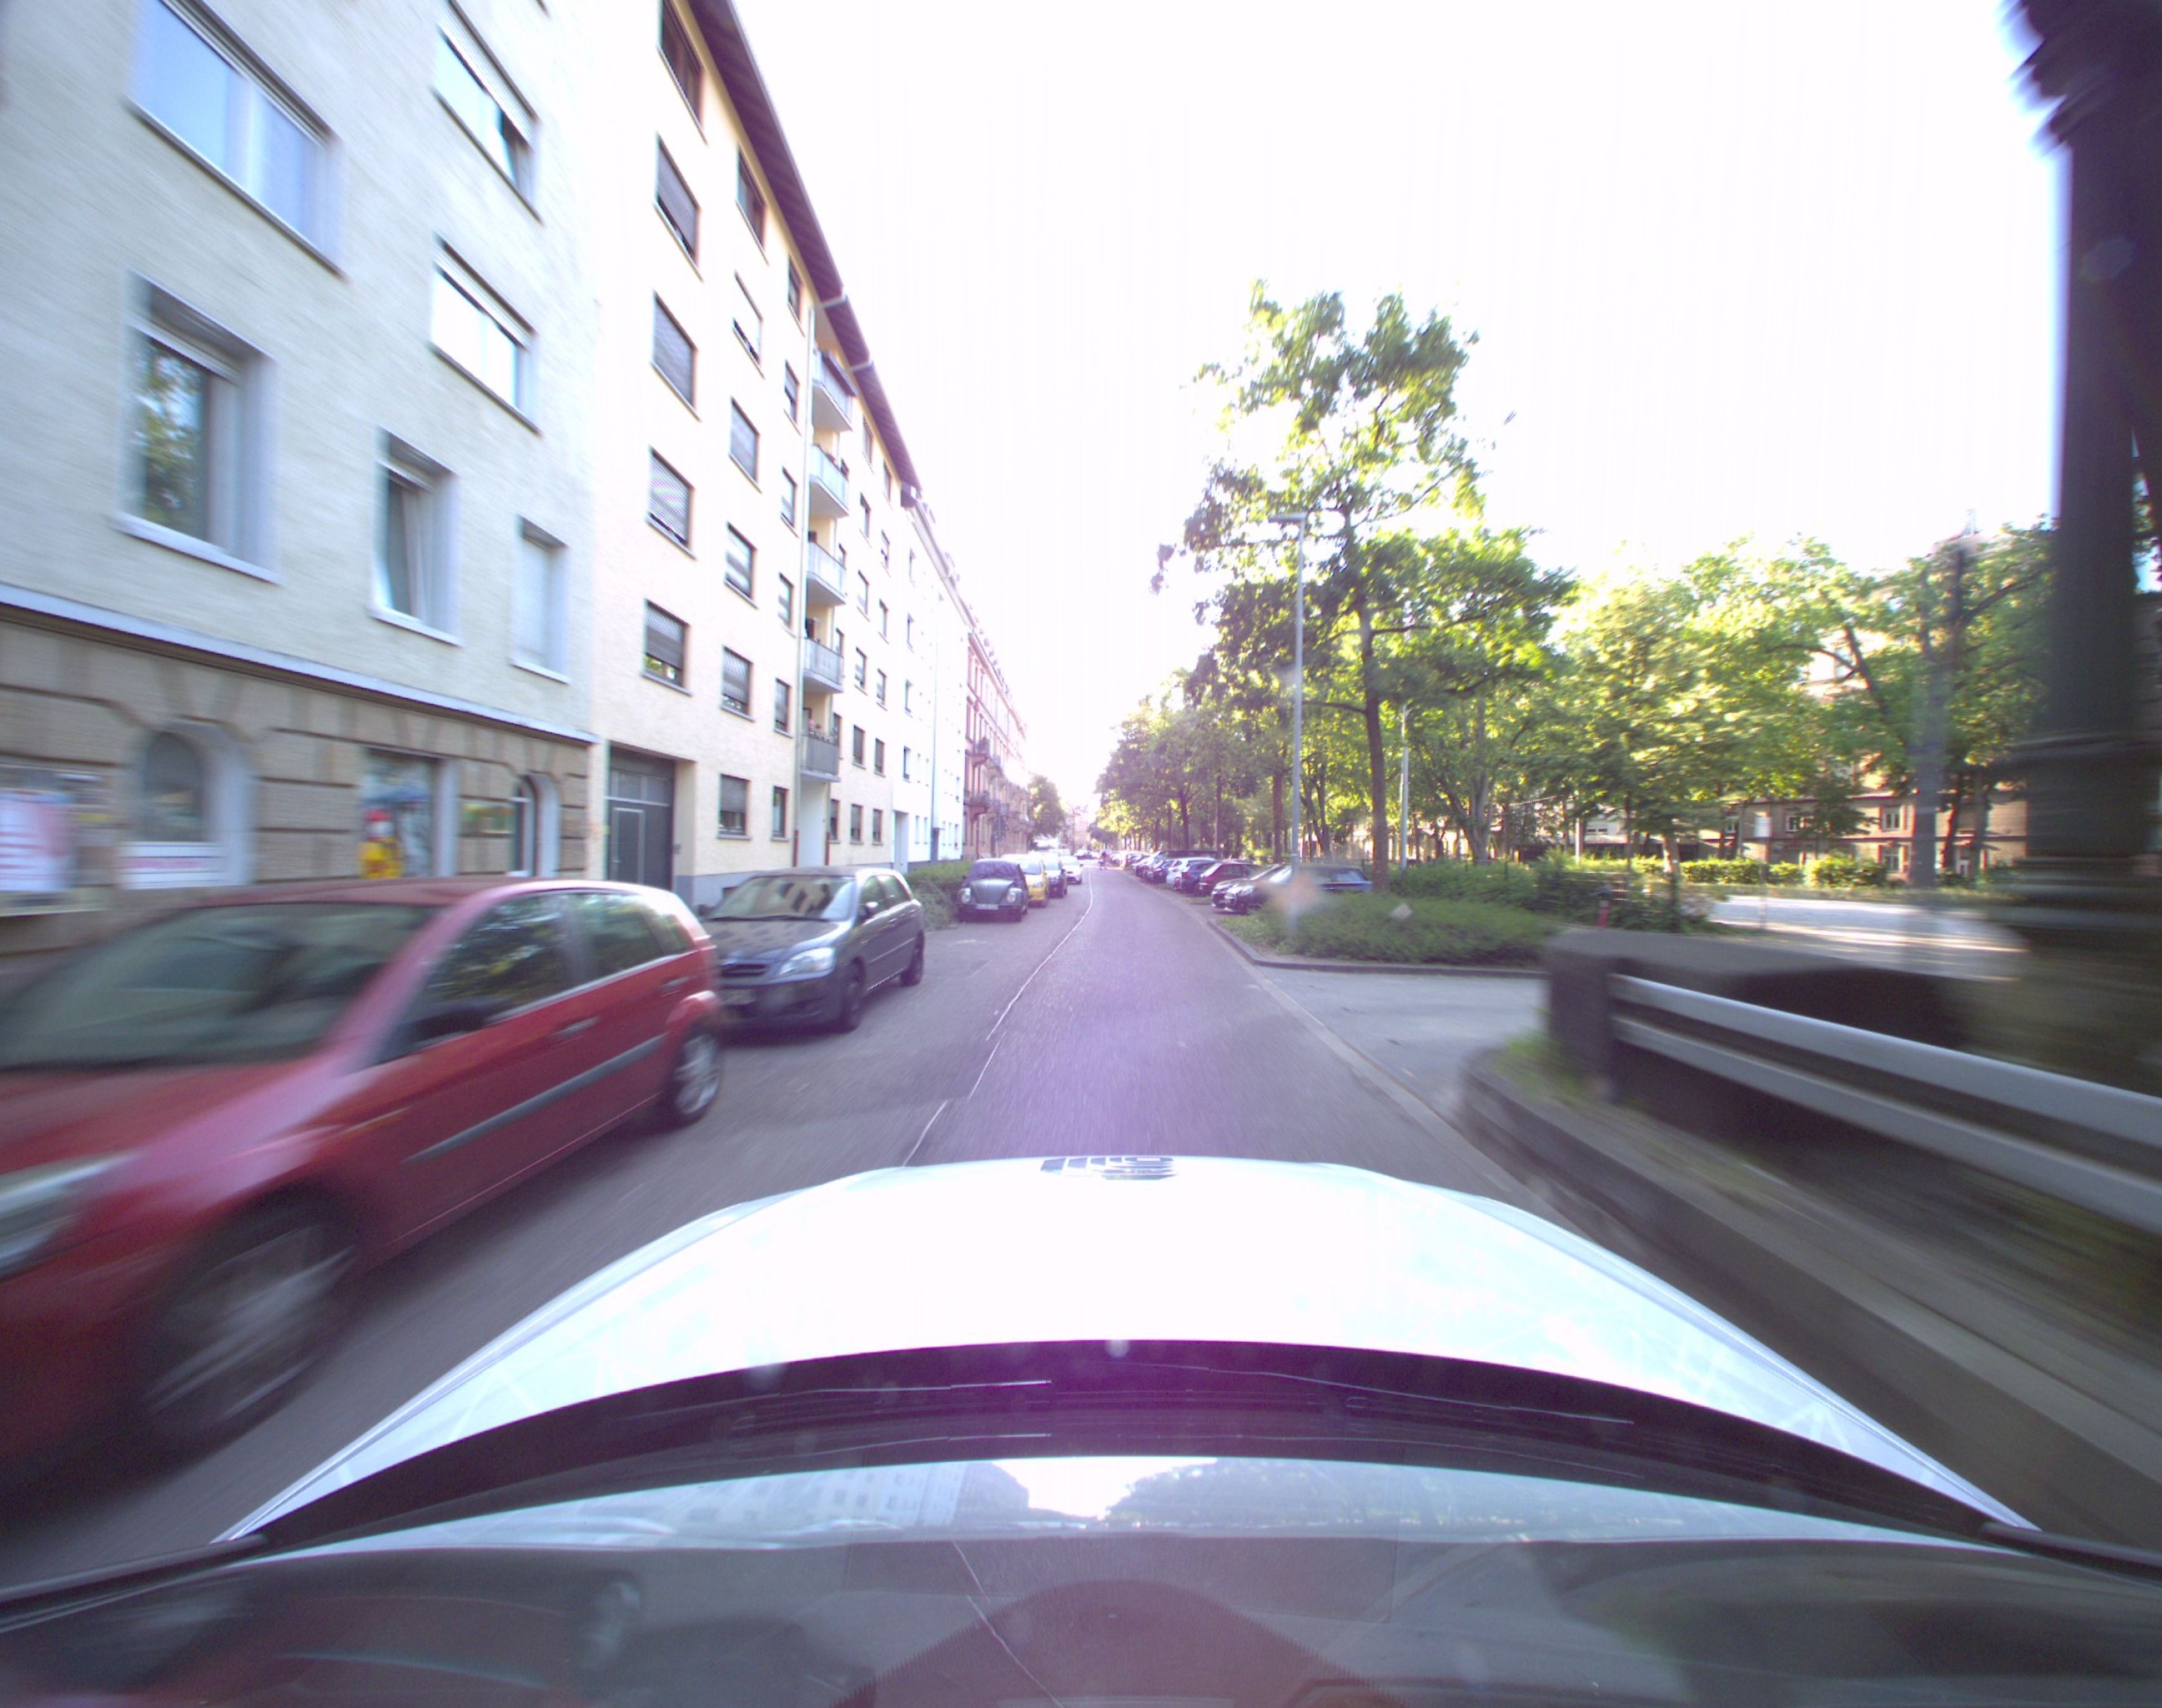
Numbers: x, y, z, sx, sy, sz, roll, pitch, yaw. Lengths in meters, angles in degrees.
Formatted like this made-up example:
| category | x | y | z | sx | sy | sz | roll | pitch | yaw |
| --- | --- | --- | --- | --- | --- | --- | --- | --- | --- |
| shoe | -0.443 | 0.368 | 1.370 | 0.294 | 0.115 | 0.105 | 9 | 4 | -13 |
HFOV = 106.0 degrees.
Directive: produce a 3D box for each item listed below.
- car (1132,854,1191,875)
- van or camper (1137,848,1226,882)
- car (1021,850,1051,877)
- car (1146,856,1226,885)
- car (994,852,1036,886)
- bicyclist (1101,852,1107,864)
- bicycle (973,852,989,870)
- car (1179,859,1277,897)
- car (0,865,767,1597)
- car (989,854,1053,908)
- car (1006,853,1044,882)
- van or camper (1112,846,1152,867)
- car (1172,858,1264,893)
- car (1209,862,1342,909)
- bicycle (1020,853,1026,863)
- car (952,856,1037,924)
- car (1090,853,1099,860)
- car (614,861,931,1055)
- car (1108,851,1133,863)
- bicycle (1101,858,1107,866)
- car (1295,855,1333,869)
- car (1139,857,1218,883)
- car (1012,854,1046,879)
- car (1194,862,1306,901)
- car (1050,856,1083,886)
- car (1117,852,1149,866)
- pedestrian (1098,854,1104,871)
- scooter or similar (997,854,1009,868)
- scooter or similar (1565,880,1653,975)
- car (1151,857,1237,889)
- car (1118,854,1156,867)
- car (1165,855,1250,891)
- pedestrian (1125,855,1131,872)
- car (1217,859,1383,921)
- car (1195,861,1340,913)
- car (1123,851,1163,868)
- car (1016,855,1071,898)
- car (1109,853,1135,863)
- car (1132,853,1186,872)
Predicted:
| category | x | y | z | sx | sy | sz | roll | pitch | yaw |
| --- | --- | --- | --- | --- | --- | --- | --- | --- | --- |
| car | 6.242 | 0.809 | 63.239 | 4.385 | 1.591 | 1.837 | 0 | -1 | -1 |
| van or camper | 6.194 | 0.659 | 50.780 | 5.392 | 2.027 | 2.031 | 0 | 0 | 2 |
| car | -3.060 | 0.616 | 56.191 | 1.746 | 1.706 | 4.200 | 2 | 0 | 0 |
| car | 5.875 | 0.934 | 45.838 | 4.381 | 1.577 | 1.665 | 0 | -2 | 2 |
| car | -3.295 | 0.710 | 41.239 | 1.663 | 1.508 | 4.000 | 4 | 0 | 0 |
| bicyclist | 3.017 | 0.520 | 106.788 | 0.626 | 1.573 | 0.802 | 2 | -2 | -1 |
| bicycle | -7.233 | 0.498 | 59.220 | 0.734 | 1.206 | 2.515 | 2 | 1 | 1 |
| car | 5.868 | 0.955 | 32.787 | 3.763 | 1.447 | 1.667 | 0 | -2 | 5 |
| car | -3.007 | 0.796 | 3.489 | 1.683 | 1.441 | 4.000 | 1 | 0 | 1 |
| car | -1.802 | 0.784 | 25.478 | 1.697 | 1.525 | 3.773 | 1 | 0 | 0 |
| car | -3.137 | 0.745 | 46.343 | 1.662 | 1.471 | 4.285 | 4 | 0 | 1 |
| van or camper | 6.615 | 0.343 | 105.390 | 4.968 | 2.377 | 2.183 | 2 | -2 | -2 |
| car | 5.932 | 0.948 | 35.560 | 3.767 | 1.474 | 1.665 | 0 | -2 | 2 |
| car | 5.983 | 0.965 | 25.347 | 3.770 | 1.401 | 1.664 | 0 | -2 | 0 |
| bicycle | -7.158 | 0.477 | 100.322 | 0.703 | 1.147 | 1.887 | 2 | -2 | -3 |
| car | -2.056 | 0.822 | 20.361 | 1.560 | 1.517 | 3.784 | 1 | 0 | 2 |
| car | 2.679 | 0.466 | 160.328 | 1.663 | 1.464 | 3.999 | 0 | 0 | -1 |
| car | -2.795 | 0.832 | 8.400 | 1.631 | 1.466 | 4.001 | -2 | 0 | 1 |
| car | 6.604 | 0.580 | 135.669 | 3.977 | 1.794 | 1.857 | 2 | -2 | -3 |
| bicycle | 3.005 | 1.057 | 106.731 | 0.639 | 1.100 | 1.943 | 2 | -2 | -1 |
| car | 31.804 | 1.119 | 111.016 | 4.658 | 1.684 | 2.011 | 2 | -2 | 24 |
| car | 5.714 | 0.954 | 48.117 | 4.389 | 1.501 | 1.836 | 1 | -2 | -3 |
| car | -3.219 | 0.744 | 50.904 | 1.609 | 1.451 | 4.003 | 3 | 0 | 3 |
| car | 6.234 | 1.017 | 30.348 | 3.774 | 1.401 | 1.764 | 1 | -2 | -4 |
| car | -0.749 | 0.897 | 44.970 | 1.662 | 1.430 | 4.001 | -1 | 1 | 1 |
| car | 6.417 | 0.643 | 100.826 | 3.972 | 1.691 | 1.860 | 0 | 0 | 1 |
| pedestrian | 1.924 | 0.825 | 79.342 | 0.377 | 1.584 | 0.521 | 2 | 2 | 20 |
| scooter or similar | -7.355 | 0.686 | 77.235 | 0.781 | 1.222 | 2.704 | 2 | -2 | 0 |
| scooter or similar | 7.696 | 1.035 | 11.928 | 0.475 | 1.298 | 1.326 | 2 | -2 | 3 |
| car | 5.916 | 1.002 | 42.919 | 4.378 | 1.577 | 1.666 | 0 | -2 | 5 |
| car | 6.413 | 0.776 | 92.854 | 4.200 | 1.453 | 1.651 | 0 | 0 | 4 |
| car | 5.876 | 0.896 | 38.196 | 3.769 | 1.646 | 1.664 | 0 | -2 | 1 |
| pedestrian | 4.294 | 0.838 | 75.056 | 0.377 | 1.516 | 0.521 | 2 | 2 | 20 |
| car | 5.499 | 0.905 | 20.680 | 3.774 | 1.472 | 1.633 | 1 | -2 | -4 |
| car | 5.240 | 0.926 | 23.231 | 3.768 | 1.401 | 1.827 | 0 | -2 | 1 |
| car | 6.681 | 0.586 | 88.406 | 4.204 | 1.864 | 1.762 | 0 | 0 | 1 |
| car | -1.344 | 0.781 | 30.450 | 1.733 | 1.479 | 4.002 | 0 | 0 | 2 |
| car | 6.668 | 0.651 | 132.999 | 3.977 | 1.563 | 1.857 | 2 | -2 | -3 |
| car | 6.752 | 0.771 | 70.616 | 4.391 | 1.591 | 1.835 | 0 | -1 | -5 |
